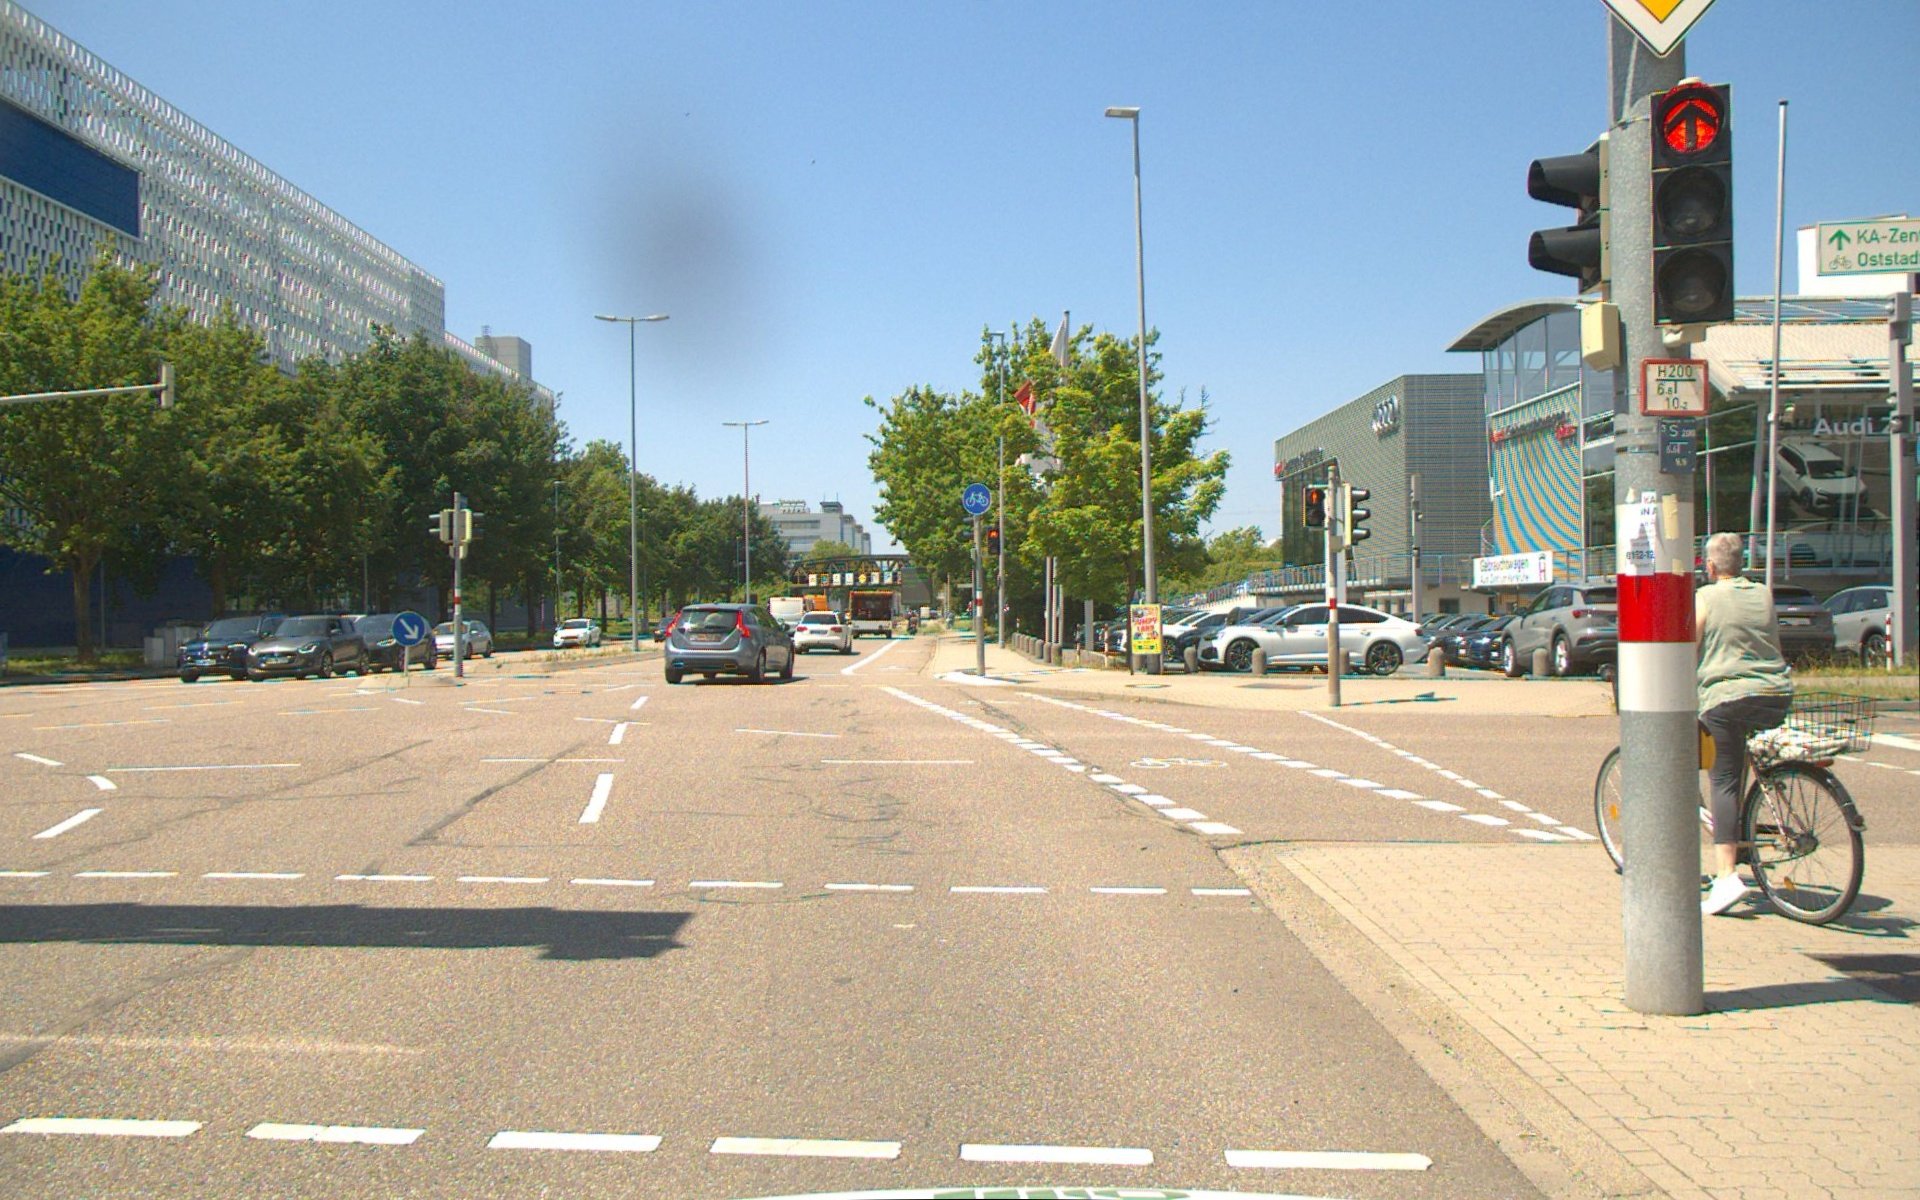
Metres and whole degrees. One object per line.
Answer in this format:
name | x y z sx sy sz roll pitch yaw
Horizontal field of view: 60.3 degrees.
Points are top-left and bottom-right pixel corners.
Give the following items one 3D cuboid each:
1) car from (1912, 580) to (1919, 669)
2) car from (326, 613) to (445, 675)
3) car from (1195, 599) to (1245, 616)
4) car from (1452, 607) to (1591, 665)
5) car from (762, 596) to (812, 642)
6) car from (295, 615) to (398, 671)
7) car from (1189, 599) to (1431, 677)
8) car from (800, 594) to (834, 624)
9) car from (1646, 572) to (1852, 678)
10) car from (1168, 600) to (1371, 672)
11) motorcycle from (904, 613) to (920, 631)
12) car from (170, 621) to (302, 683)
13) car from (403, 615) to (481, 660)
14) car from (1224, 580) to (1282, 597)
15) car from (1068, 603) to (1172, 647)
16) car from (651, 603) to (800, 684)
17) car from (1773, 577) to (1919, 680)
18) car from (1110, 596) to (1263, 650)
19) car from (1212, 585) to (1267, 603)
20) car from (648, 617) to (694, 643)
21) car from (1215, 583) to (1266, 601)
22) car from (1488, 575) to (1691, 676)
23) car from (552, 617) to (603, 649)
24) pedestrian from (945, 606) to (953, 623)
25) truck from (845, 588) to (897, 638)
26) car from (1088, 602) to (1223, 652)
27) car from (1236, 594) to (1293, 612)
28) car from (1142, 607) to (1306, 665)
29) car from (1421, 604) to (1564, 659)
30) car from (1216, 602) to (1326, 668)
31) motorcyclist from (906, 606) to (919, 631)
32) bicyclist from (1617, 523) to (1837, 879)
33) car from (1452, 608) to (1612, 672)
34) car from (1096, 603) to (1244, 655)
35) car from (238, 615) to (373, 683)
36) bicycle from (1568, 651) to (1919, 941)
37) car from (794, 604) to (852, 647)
car | 18.710 0.482 28.998 1.604 1.644 3.814 0 1 -5
car | -15.469 1.171 44.747 1.691 1.531 4.243 -3 -1 0
car | 22.298 0.655 141.836 3.909 1.335 1.795 -1 -1 -5
car | 16.701 1.070 49.305 3.573 1.608 1.642 2 -1 -1
car | -7.932 0.852 76.136 1.953 2.049 3.998 0 -1 -2
car | -18.608 1.290 50.331 1.691 1.571 3.914 -2 -1 -1
car | 6.983 0.751 33.341 4.497 1.415 1.869 2 -1 1
car | -9.991 0.620 115.837 1.953 2.049 4.811 1 0 -1
car | 13.727 0.427 29.031 1.806 1.683 3.999 2 -1 2
car | 6.648 0.770 35.837 4.013 1.415 1.868 2 -1 -1
motorcycle | -3.070 1.426 106.002 0.703 1.124 1.825 1 -1 -10
car | -18.350 1.291 42.097 1.627 1.449 4.037 -2 -1 -1
car | -18.589 1.334 59.506 1.616 1.512 3.914 -2 -1 -1
car | 21.425 -0.850 120.902 3.862 1.232 1.715 0 -1 -5
car | 5.816 0.907 60.387 3.607 1.479 1.833 2 -1 -1
car | -4.362 0.783 31.468 1.860 1.400 4.234 -1 0 5
car | 16.411 0.508 29.278 1.808 1.683 3.994 2 -1 -5
car | 6.337 0.640 46.538 4.016 1.372 1.868 2 -1 -1
car | 21.904 -0.442 129.850 3.909 1.335 1.795 1 -1 -5
car | -17.091 1.771 98.124 1.691 1.471 4.720 -3 -1 2
car | 21.176 -0.604 125.018 3.455 1.261 1.675 1 -1 -5
car | 10.992 0.480 29.237 1.830 1.586 4.503 -2 -2 0
car | -19.358 1.659 83.874 1.708 1.512 3.999 -2 -1 -1
pedestrian | -0.882 1.172 132.614 0.611 1.399 0.564 -1 -1 -3
truck | -4.621 0.664 87.006 2.408 2.452 7.132 1 0 -1
car | 6.130 0.835 52.176 4.017 1.429 1.868 2 -1 -1
car | 21.476 0.215 116.716 3.652 1.150 1.682 1 -1 -5
car | 6.950 0.933 43.808 4.013 1.388 1.874 2 -1 -1
car | 16.578 0.979 51.572 3.901 1.601 1.633 2 -1 -1
car | 7.402 0.818 39.778 1.824 1.444 4.663 2 -1 1
motorcyclist | -3.066 1.189 106.002 0.706 1.556 0.868 1 -1 -11
bicyclist | 3.710 0.468 8.047 0.616 1.634 0.824 1 -1 -8
car | 16.040 1.105 46.487 3.904 1.650 1.656 2 -1 -1
car | 6.220 0.867 49.383 4.140 1.415 1.868 2 -1 -1
car | -15.156 1.116 38.492 1.610 1.413 3.715 -3 -1 0
bicycle | 3.709 0.866 8.024 0.616 1.153 1.892 0 1 -7
car | -4.584 0.837 55.721 1.708 1.420 3.528 0 0 -1
